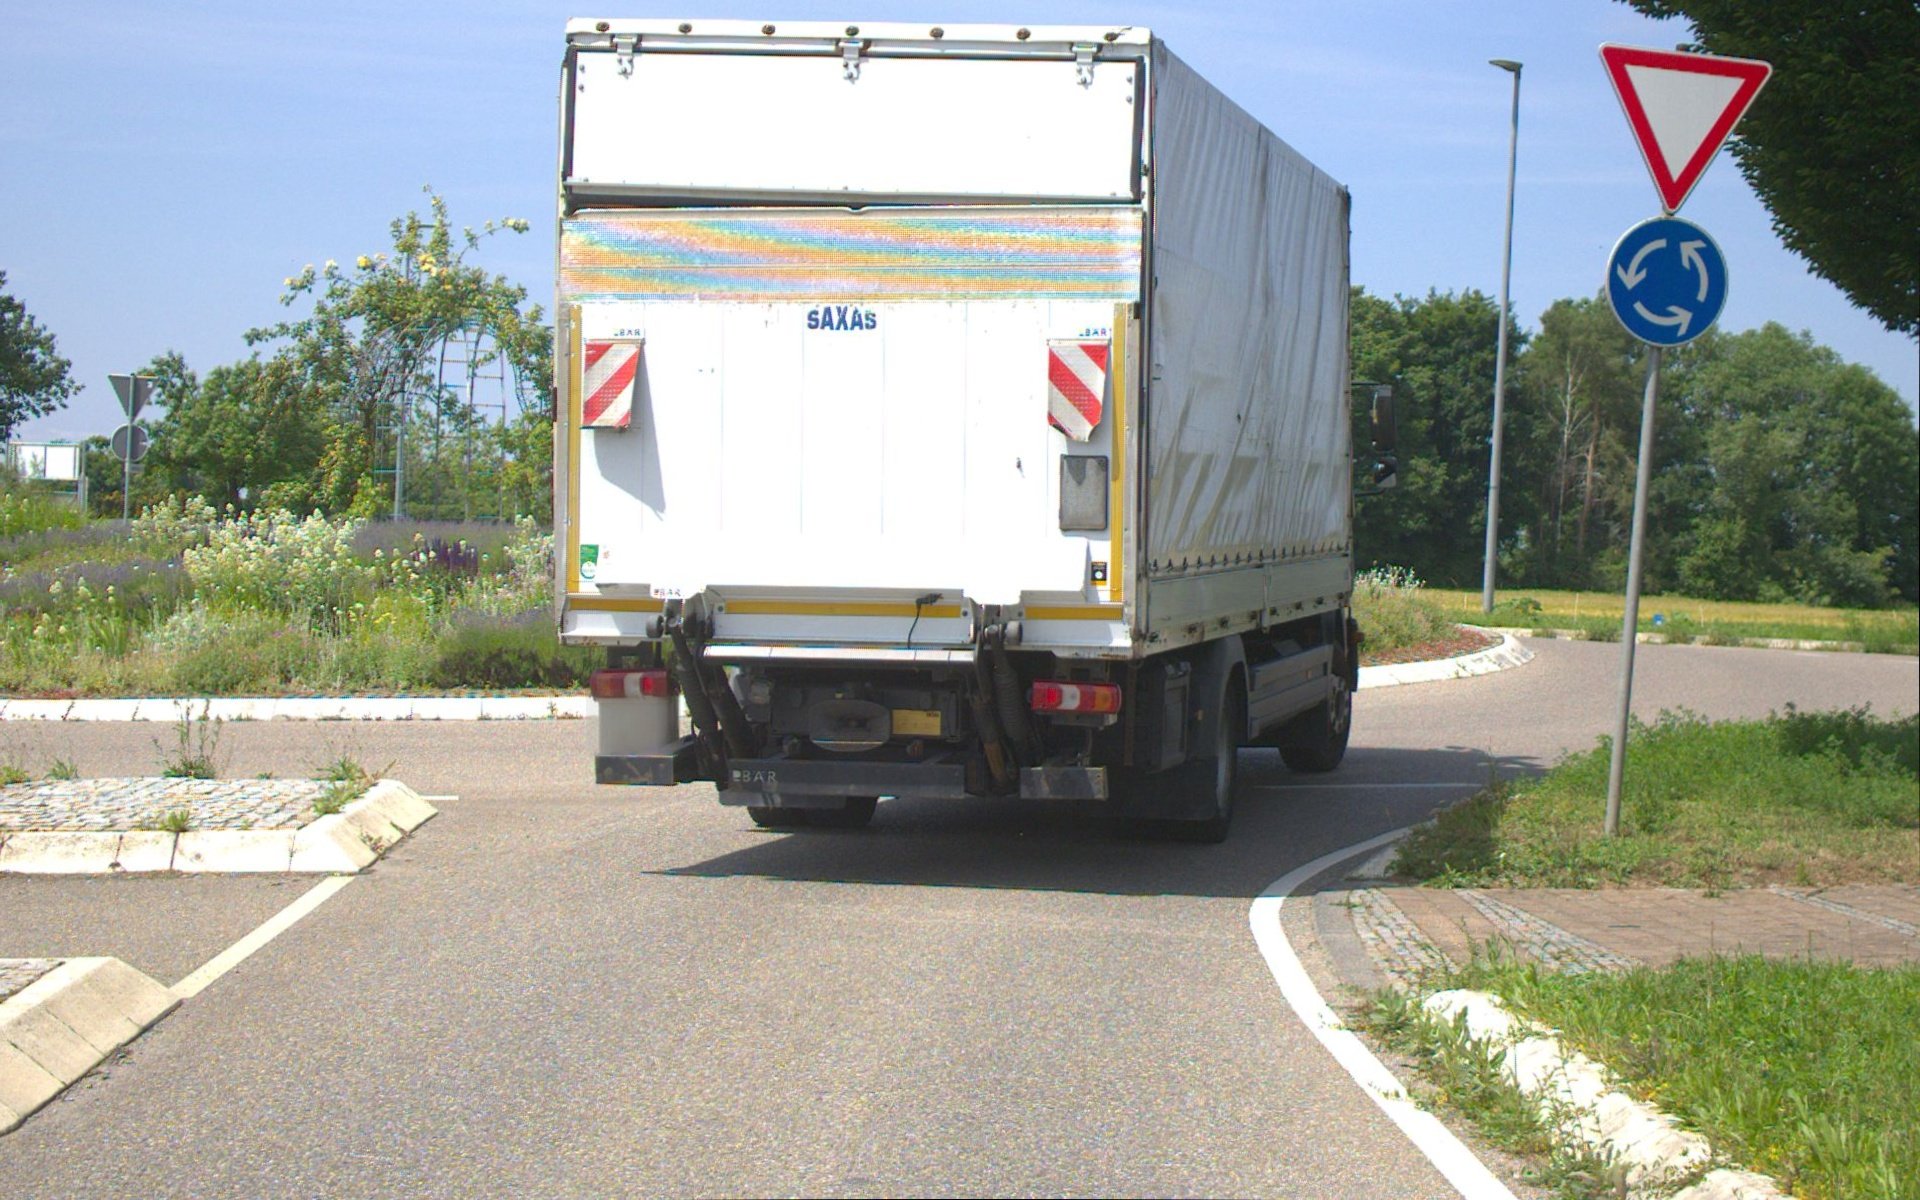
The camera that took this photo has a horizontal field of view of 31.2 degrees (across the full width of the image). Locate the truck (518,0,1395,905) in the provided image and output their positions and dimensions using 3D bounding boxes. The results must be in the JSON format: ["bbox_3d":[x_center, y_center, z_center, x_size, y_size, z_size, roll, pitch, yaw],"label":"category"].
[{"bbox_3d":[0.524,-0.725,18.657,2.768,3.658,9.378,1,1,12],"label":"truck"}]
